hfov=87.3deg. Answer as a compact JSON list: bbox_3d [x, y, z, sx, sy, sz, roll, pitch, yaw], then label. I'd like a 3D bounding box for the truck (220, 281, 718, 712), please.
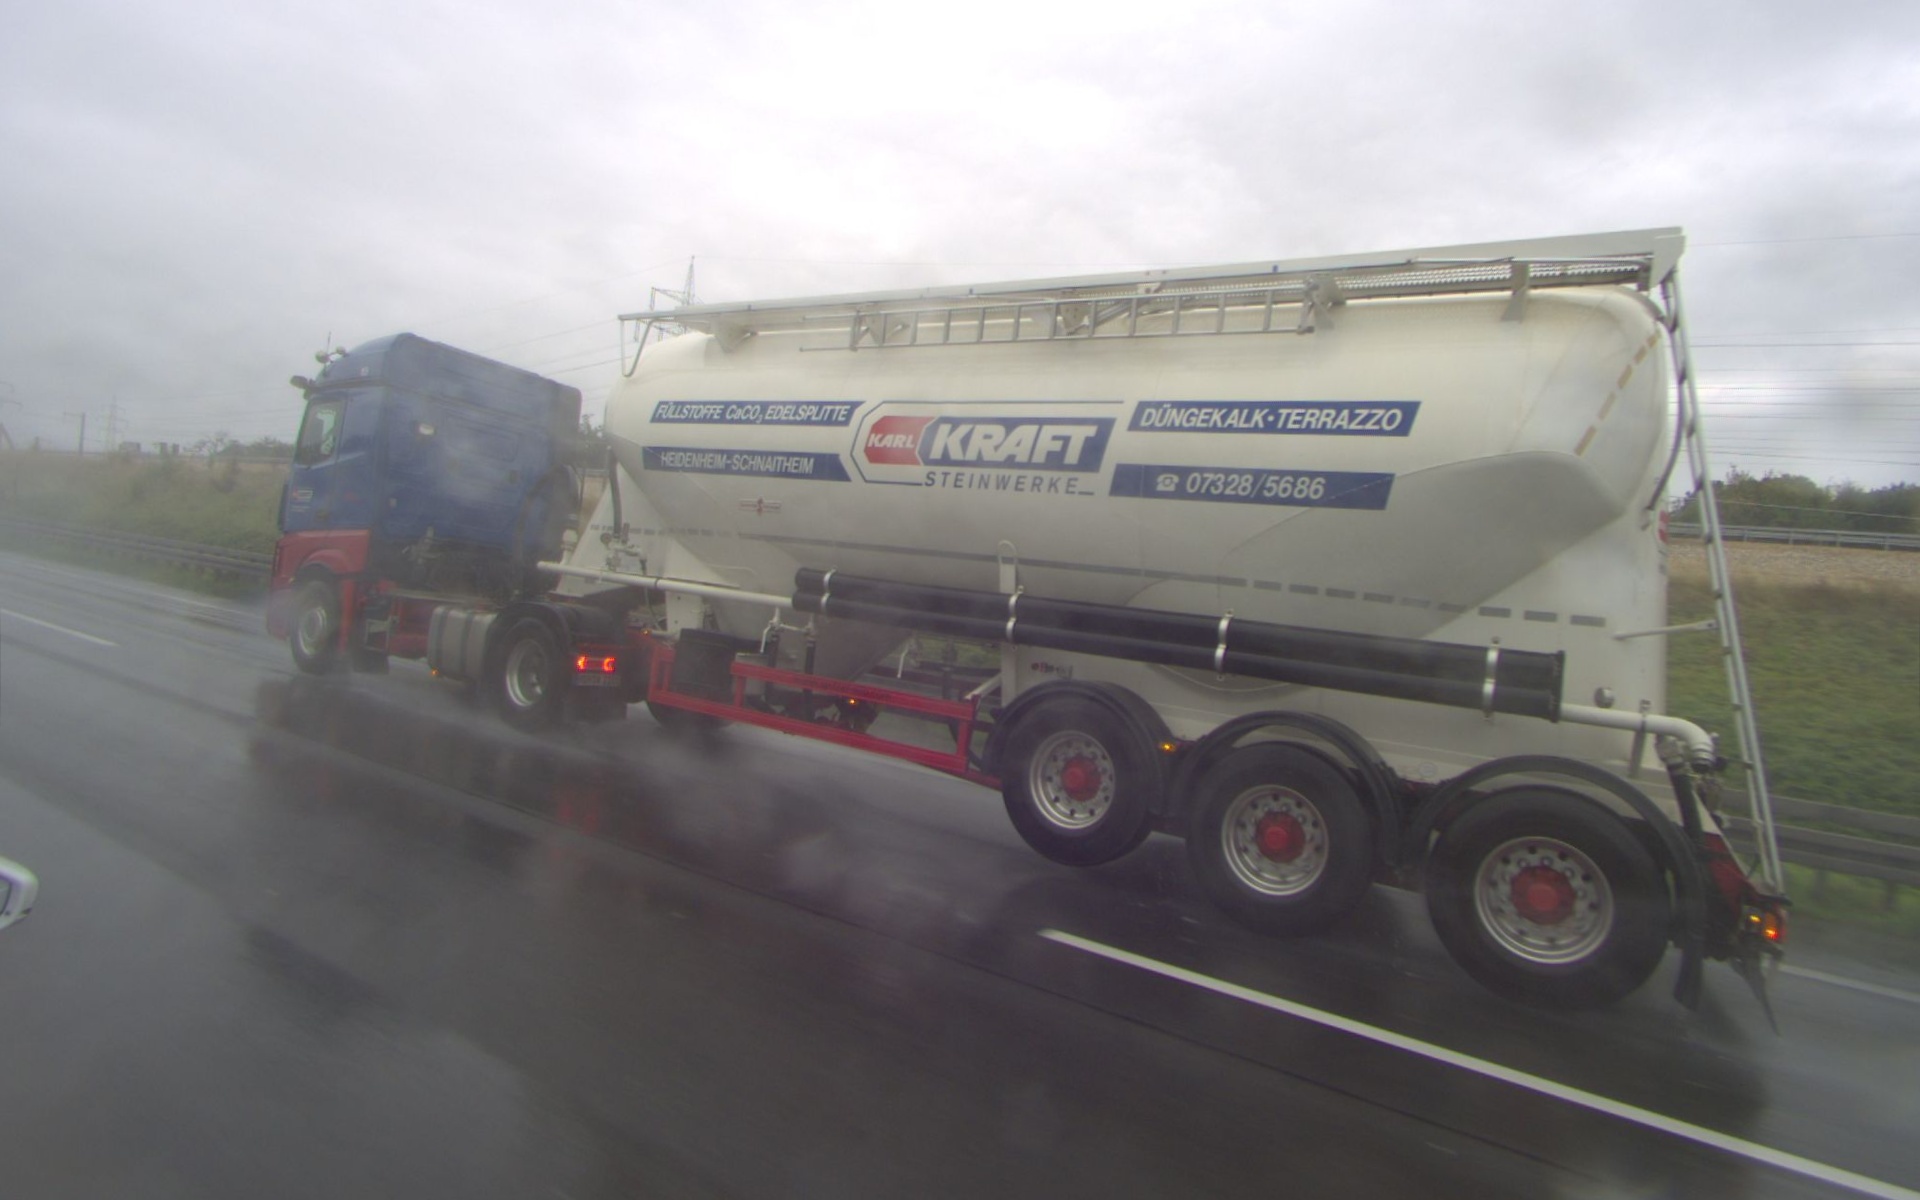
[{"bbox_3d":[-5.771,-1.128,11.705,4.990,4.031,2.501,8,0,31],"label":"truck"}]

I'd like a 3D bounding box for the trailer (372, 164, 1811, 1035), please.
[{"bbox_3d":[-0.444,-0.504,8.406,10.881,3.928,2.501,8,0,31],"label":"trailer"}]
